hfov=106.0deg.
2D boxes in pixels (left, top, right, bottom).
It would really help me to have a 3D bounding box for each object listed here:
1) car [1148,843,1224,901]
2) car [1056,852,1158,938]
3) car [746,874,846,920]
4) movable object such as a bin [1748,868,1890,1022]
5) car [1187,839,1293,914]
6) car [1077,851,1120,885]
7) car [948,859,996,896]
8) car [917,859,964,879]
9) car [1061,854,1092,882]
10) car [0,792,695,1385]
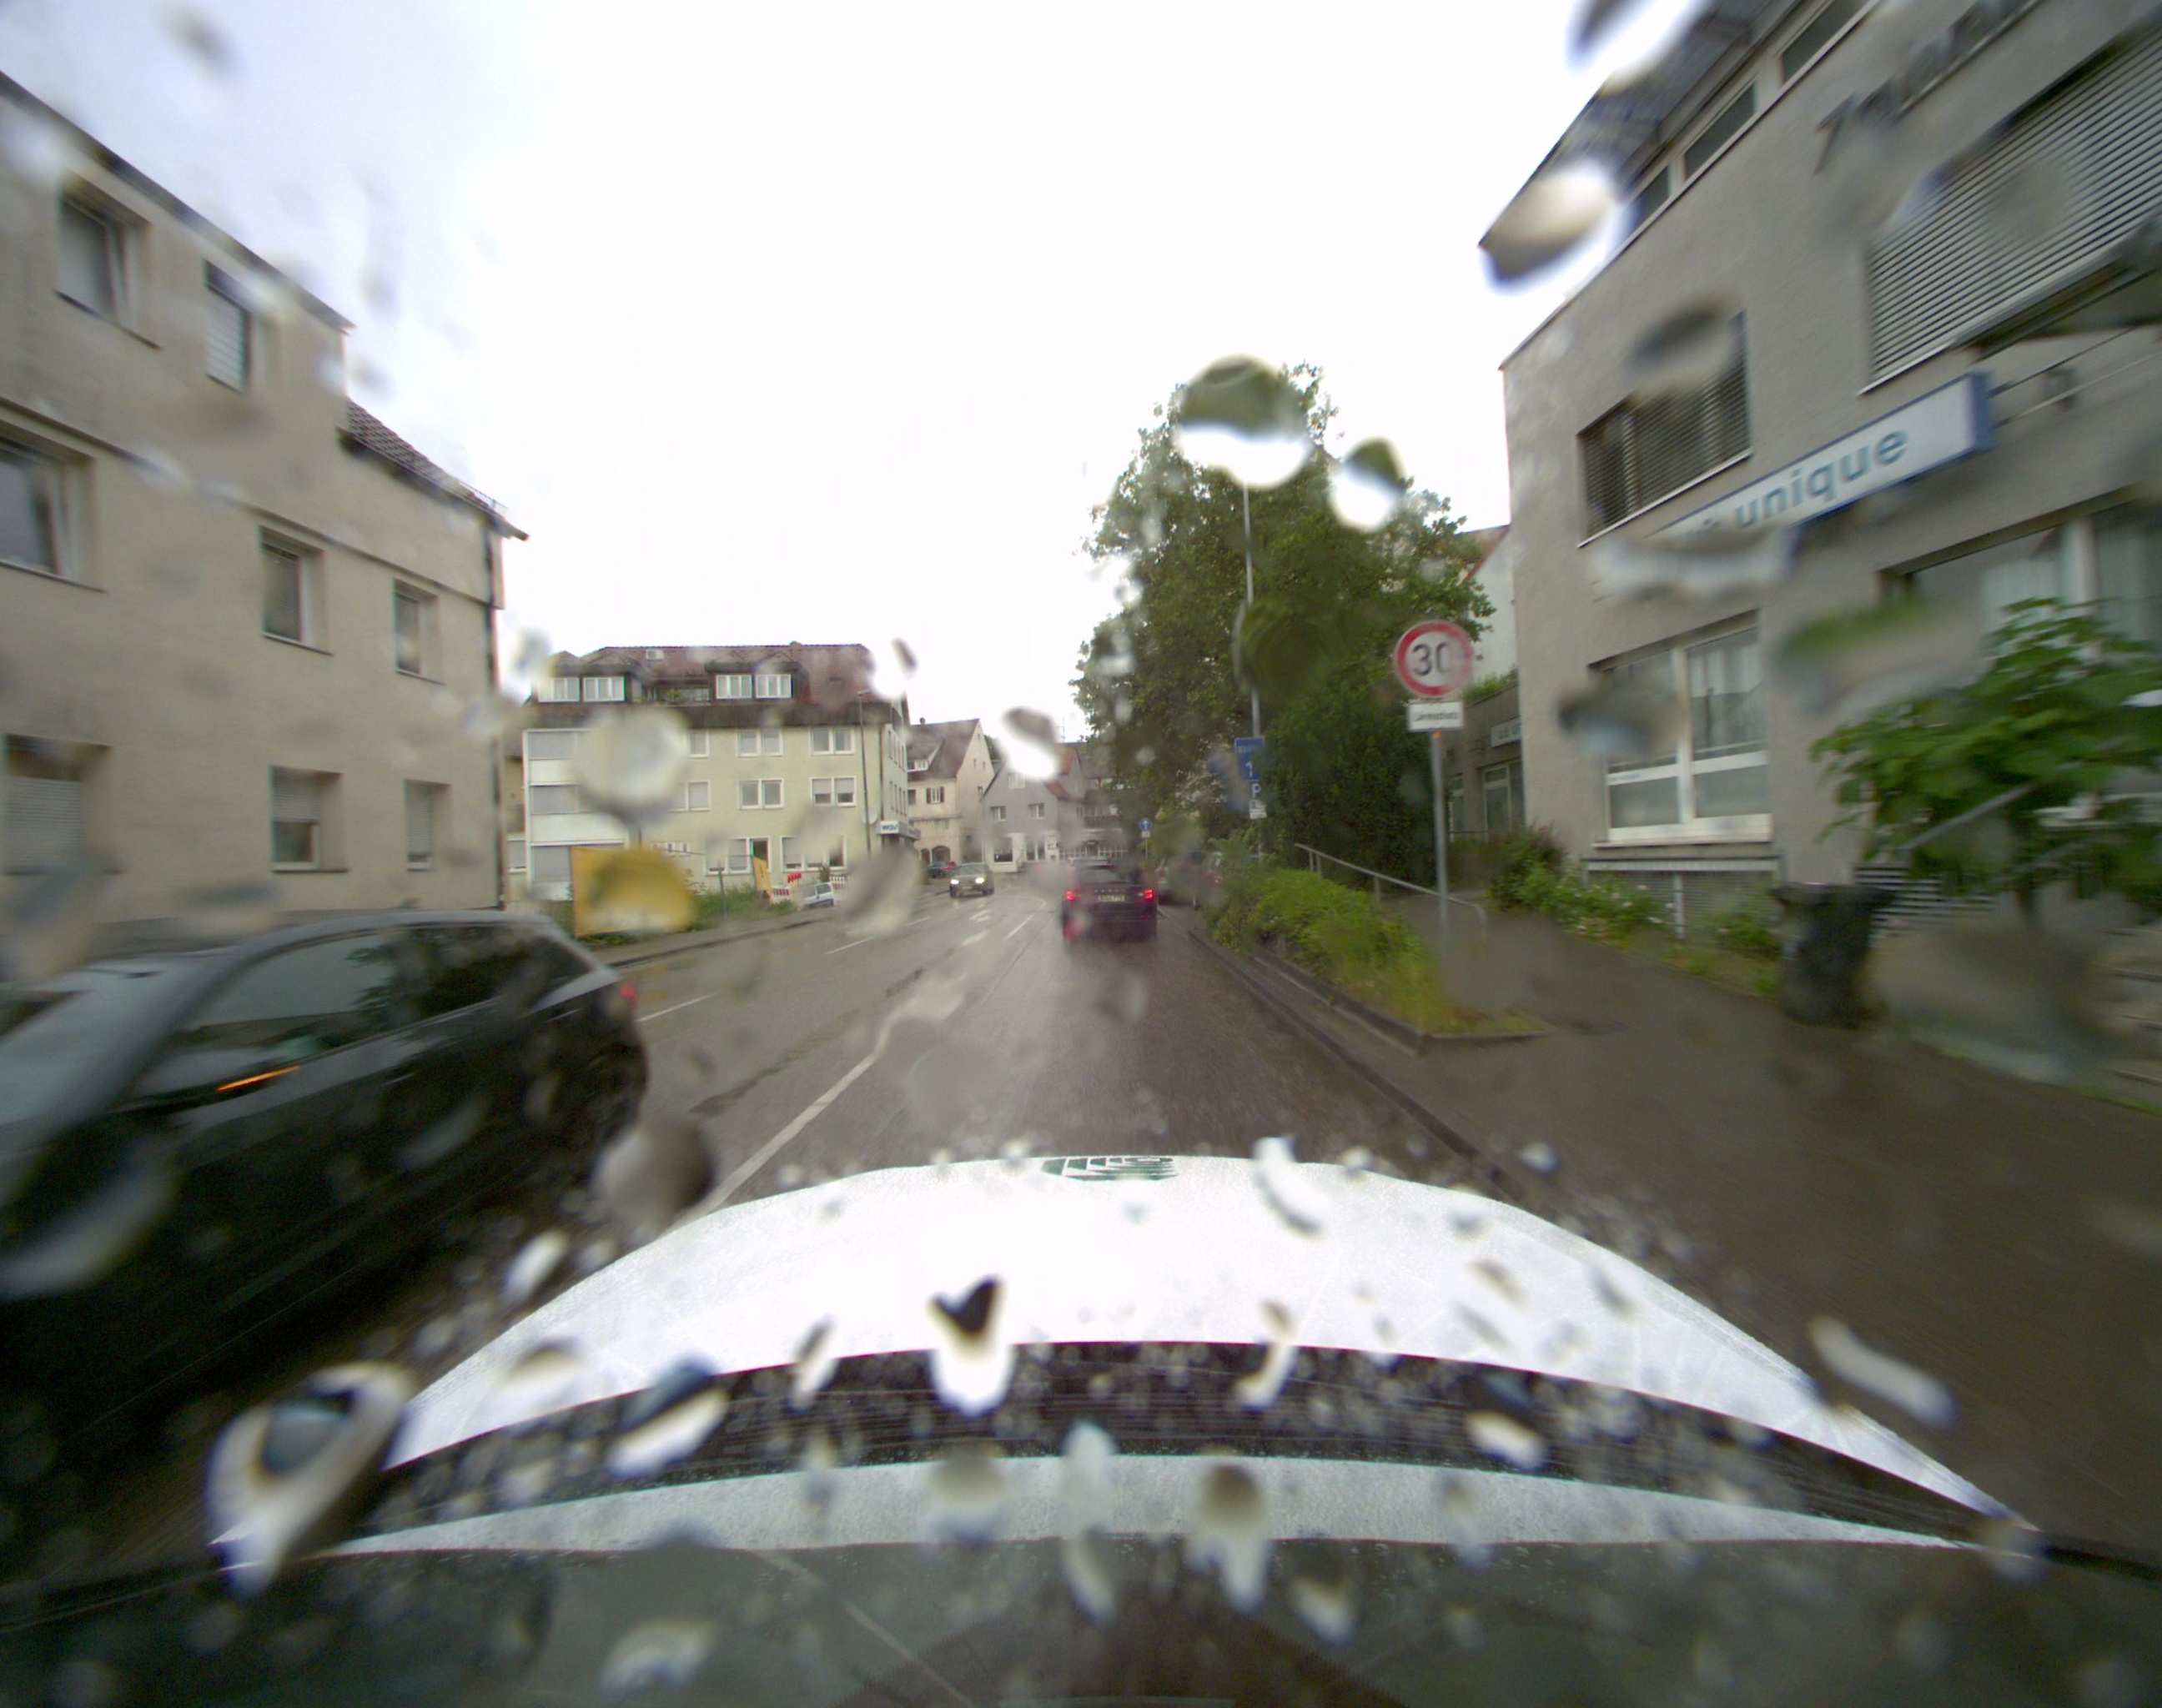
[{"bbox_3d":[3.381,0.579,26.940,1.847,1.641,3.868,-4,-1,-1],"label":"car"},{"bbox_3d":[0.582,0.754,16.621,1.774,1.483,4.249,-1,-1,3],"label":"car"},{"bbox_3d":[-13.168,1.967,37.846,4.010,1.386,1.787,-9,3,-11],"label":"car"},{"bbox_3d":[5.066,0.599,5.627,0.507,0.945,0.606,0,4,19],"label":"movable object such as a bin"},{"bbox_3d":[3.952,0.548,20.803,1.847,1.641,3.536,-4,-1,-1],"label":"car"},{"bbox_3d":[0.741,0.642,37.274,1.812,1.359,3.988,-2,-1,0],"label":"car"},{"bbox_3d":[-5.127,1.113,38.841,1.653,1.571,3.999,-3,-1,0],"label":"car"},{"bbox_3d":[-12.463,1.322,72.150,3.641,1.590,1.911,-4,-2,30],"label":"car"},{"bbox_3d":[-0.260,0.959,52.784,1.720,1.591,4.186,-1,-4,3],"label":"car"},{"bbox_3d":[-3.243,0.559,3.087,1.611,1.334,3.952,-2,0,0],"label":"car"}]
